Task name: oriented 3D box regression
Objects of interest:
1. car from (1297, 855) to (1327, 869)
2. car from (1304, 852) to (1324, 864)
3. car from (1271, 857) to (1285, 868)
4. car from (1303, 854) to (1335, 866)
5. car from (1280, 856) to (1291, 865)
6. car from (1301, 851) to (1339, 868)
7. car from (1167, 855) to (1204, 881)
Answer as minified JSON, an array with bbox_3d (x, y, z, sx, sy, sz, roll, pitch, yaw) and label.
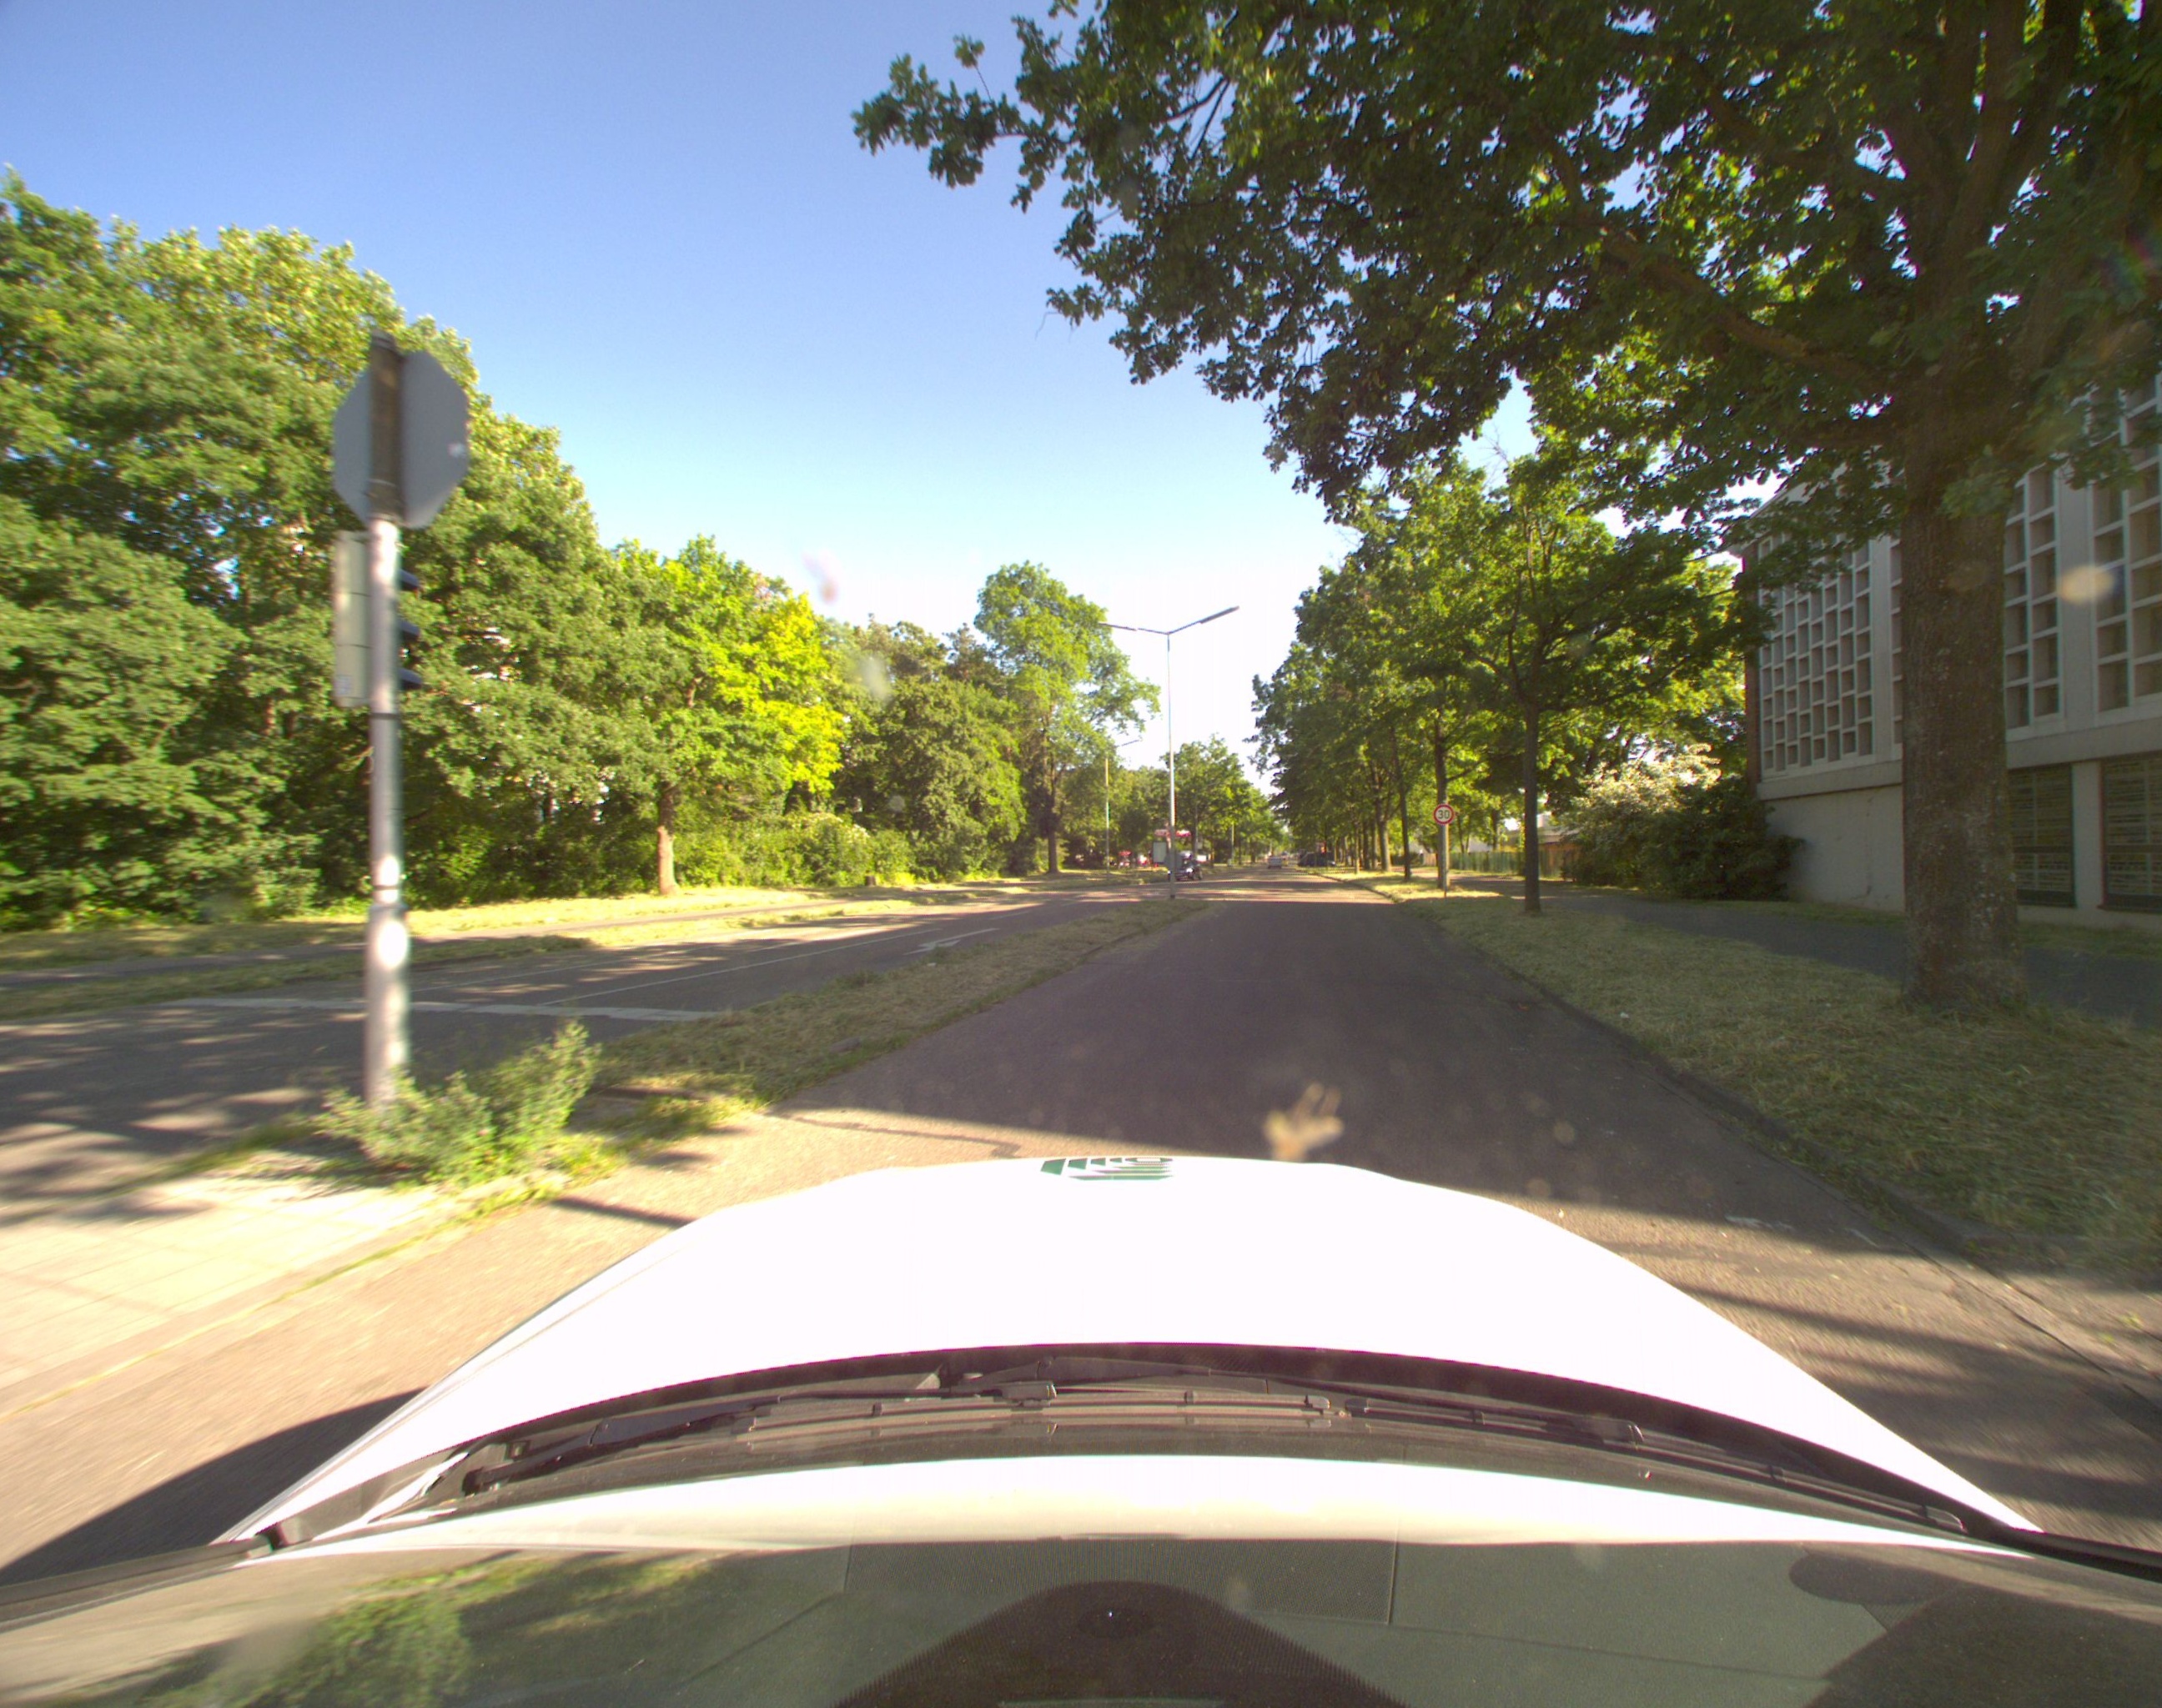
[{"bbox_3d":[29.633,1.034,104.660,3.627,1.797,1.322,-1,-2,13],"label":"car"},{"bbox_3d":[42.819,0.712,149.704,3.542,2.051,1.638,-1,-5,14],"label":"car"},{"bbox_3d":[24.741,1.087,102.423,1.649,1.337,3.678,-1,-2,14],"label":"car"},{"bbox_3d":[29.005,0.749,99.170,3.627,1.398,1.322,-1,-2,13],"label":"car"},{"bbox_3d":[31.688,1.039,126.341,1.649,1.337,3.678,-1,-2,14],"label":"car"},{"bbox_3d":[29.944,0.676,101.972,4.470,1.953,1.694,-1,-2,13],"label":"car"},{"bbox_3d":[7.427,0.965,57.577,1.825,1.708,4.524,-2,-1,17],"label":"car"}]
